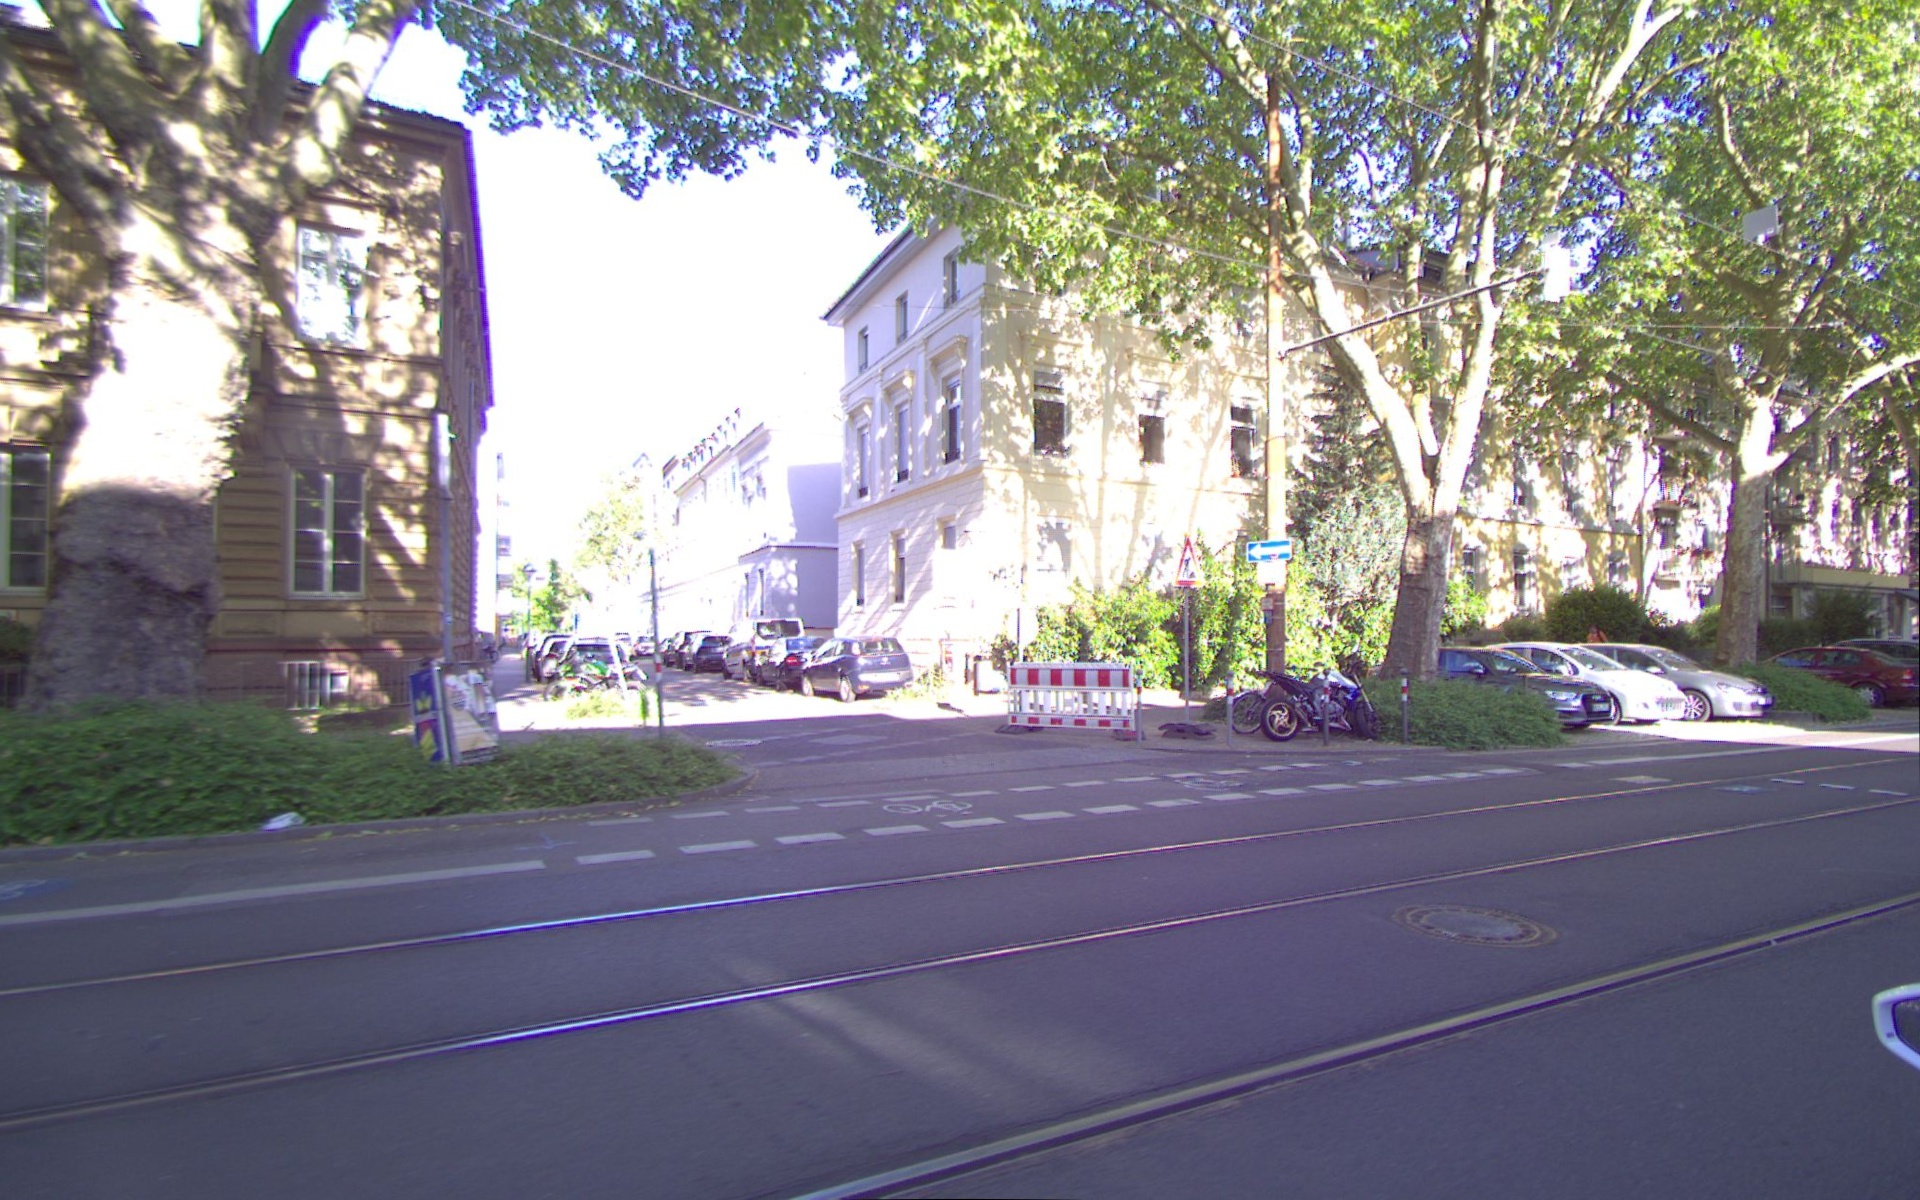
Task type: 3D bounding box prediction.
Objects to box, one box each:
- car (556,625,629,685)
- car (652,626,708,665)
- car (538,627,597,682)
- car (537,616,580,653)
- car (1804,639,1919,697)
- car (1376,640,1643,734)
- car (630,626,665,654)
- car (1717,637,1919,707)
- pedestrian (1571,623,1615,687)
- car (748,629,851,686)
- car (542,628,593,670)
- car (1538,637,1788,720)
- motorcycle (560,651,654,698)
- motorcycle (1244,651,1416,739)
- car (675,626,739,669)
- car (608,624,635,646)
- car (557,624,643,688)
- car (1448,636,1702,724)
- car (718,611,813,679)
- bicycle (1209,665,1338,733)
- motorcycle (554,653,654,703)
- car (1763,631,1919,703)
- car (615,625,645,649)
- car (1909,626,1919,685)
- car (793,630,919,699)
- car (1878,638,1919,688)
[{"bbox_3d":[-10.613,1.535,28.950,1.820,1.510,3.913,2,0,-21],"label":"car"},{"bbox_3d":[-12.938,2.079,46.284,1.673,1.625,3.761,-2,-1,-28],"label":"car"},{"bbox_3d":[-13.015,1.767,33.361,1.686,1.570,3.913,2,0,-21],"label":"car"},{"bbox_3d":[-19.776,1.687,49.401,1.821,1.659,3.911,2,0,-23],"label":"car"},{"bbox_3d":[25.797,1.861,27.377,1.797,1.440,3.901,2,0,-30],"label":"car"},{"bbox_3d":[9.812,1.486,18.252,1.825,1.350,3.904,2,0,-28],"label":"car"},{"bbox_3d":[-20.030,2.544,64.225,1.671,1.625,3.767,-2,-1,-24],"label":"car"},{"bbox_3d":[21.719,1.739,25.263,1.727,1.461,3.903,2,0,-28],"label":"car"},{"bbox_3d":[18.866,1.631,29.935,0.830,1.874,0.859,2,-1,-36],"label":"pedestrian"},{"bbox_3d":[-4.575,1.576,28.209,1.673,1.437,3.904,-1,-1,-28],"label":"car"},{"bbox_3d":[-14.688,1.792,37.611,1.677,1.350,3.913,2,0,-21],"label":"car"},{"bbox_3d":[14.467,1.552,20.889,1.783,1.481,3.904,2,-2,-28],"label":"car"},{"bbox_3d":[-7.827,1.661,22.354,1.924,0.990,0.719,2,0,-17],"label":"motorcycle"},{"bbox_3d":[5.339,1.331,14.483,2.355,1.162,0.883,1,-1,-22],"label":"motorcycle"},{"bbox_3d":[-10.548,1.949,41.726,1.673,1.625,3.761,-2,-1,-28],"label":"car"},{"bbox_3d":[-26.953,2.764,79.933,1.670,1.625,3.767,-2,-1,-24],"label":"car"},{"bbox_3d":[-8.839,1.322,24.649,1.820,1.350,3.914,2,0,-21],"label":"car"},{"bbox_3d":[11.898,1.476,19.698,1.778,1.472,3.904,2,-2,-29],"label":"car"},{"bbox_3d":[-6.550,1.460,33.378,1.988,2.029,4.392,-2,-1,-26],"label":"car"},{"bbox_3d":[4.830,1.503,15.449,2.004,0.953,0.540,1,-1,-22],"label":"bicycle"},{"bbox_3d":[-7.477,1.641,21.192,1.924,0.990,0.719,2,0,-17],"label":"motorcycle"},{"bbox_3d":[23.743,1.727,26.187,1.857,1.648,3.977,2,0,-29],"label":"car"},{"bbox_3d":[-24.064,2.669,73.129,1.670,1.625,3.767,-2,-1,-24],"label":"car"},{"bbox_3d":[33.810,1.898,32.131,1.955,1.949,4.657,2,0,-27],"label":"car"},{"bbox_3d":[-2.573,1.481,24.000,1.673,1.437,3.761,-2,-1,-28],"label":"car"},{"bbox_3d":[31.114,2.031,31.034,1.725,1.518,3.718,2,0,-29],"label":"car"}]
